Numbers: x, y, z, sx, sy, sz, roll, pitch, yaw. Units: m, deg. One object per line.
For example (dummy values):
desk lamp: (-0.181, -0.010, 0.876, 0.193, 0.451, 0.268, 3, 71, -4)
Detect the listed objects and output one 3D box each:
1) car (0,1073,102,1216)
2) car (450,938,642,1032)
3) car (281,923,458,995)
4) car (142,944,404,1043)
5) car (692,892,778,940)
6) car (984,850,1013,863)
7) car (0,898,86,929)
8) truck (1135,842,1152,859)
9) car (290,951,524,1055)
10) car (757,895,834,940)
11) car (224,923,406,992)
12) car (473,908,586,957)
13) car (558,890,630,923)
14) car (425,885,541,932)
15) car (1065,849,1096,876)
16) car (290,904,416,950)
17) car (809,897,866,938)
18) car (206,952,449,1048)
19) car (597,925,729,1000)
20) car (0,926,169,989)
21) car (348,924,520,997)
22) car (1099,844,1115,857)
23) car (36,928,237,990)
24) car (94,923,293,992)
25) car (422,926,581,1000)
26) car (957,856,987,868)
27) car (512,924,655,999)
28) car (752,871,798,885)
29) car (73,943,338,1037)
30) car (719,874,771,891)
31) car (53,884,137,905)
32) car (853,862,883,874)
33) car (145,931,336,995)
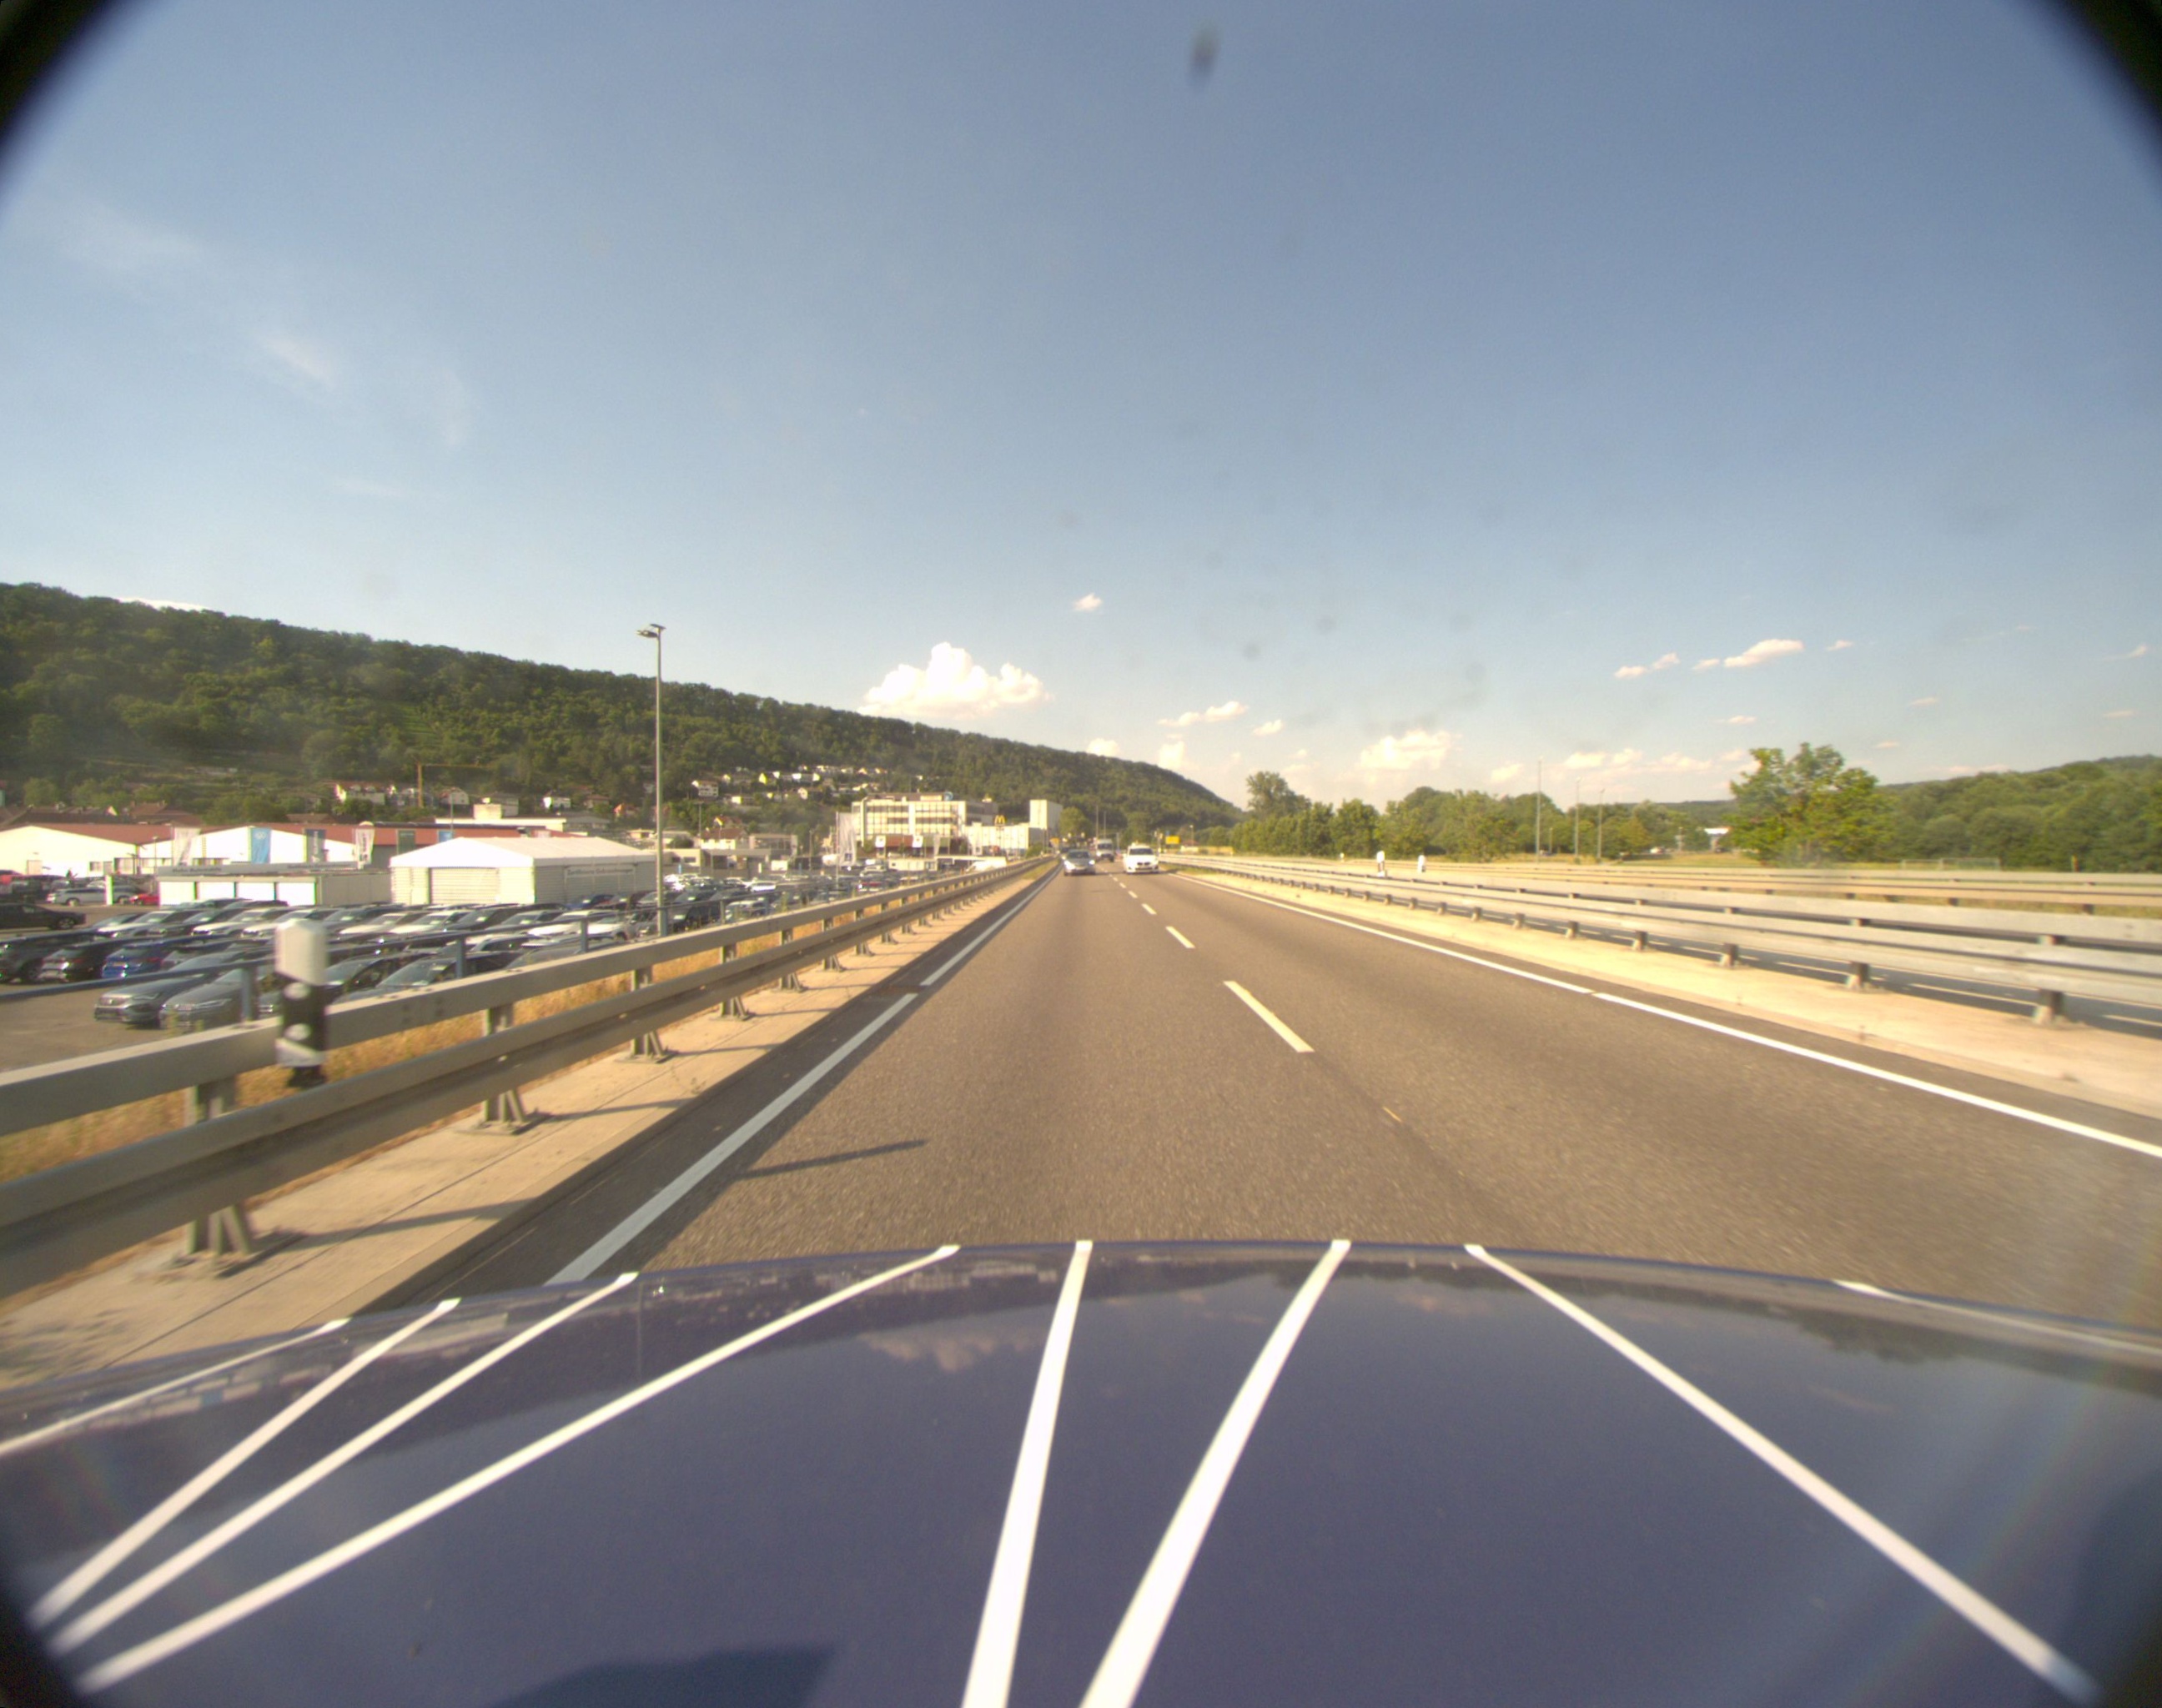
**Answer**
car: (-13.938, 3.668, 8.062, 1.709, 1.456, 4.001, -2, 1, 5)
car: (-12.649, 3.048, 18.319, 1.710, 1.456, 3.999, -2, 1, 0)
car: (-23.160, 3.361, 24.964, 1.779, 1.674, 4.001, -2, 1, 5)
car: (-20.171, 3.399, 19.300, 1.709, 1.614, 4.355, -2, 1, 5)
car: (-14.954, 2.635, 33.095, 1.779, 1.674, 3.999, -2, 1, 1)
car: (-12.347, 0.305, 113.305, 3.996, 1.740, 1.901, -2, 1, 2)
car: (-62.562, 3.545, 45.150, 1.748, 1.568, 3.785, -1, 1, 22)
truck: (13.708, -0.828, 168.436, 2.940, 3.476, 10.496, -1, 1, 0)
car: (-15.435, 3.344, 17.740, 1.710, 1.554, 4.000, -2, 1, 2)
car: (-11.982, 2.622, 32.160, 1.710, 1.456, 3.999, -2, 1, 0)
car: (-25.459, 3.390, 25.470, 1.779, 1.674, 4.001, -2, 1, 5)
car: (-24.555, 3.460, 34.009, 1.778, 1.674, 4.001, -2, 1, 7)
car: (-32.117, 3.430, 50.219, 1.778, 1.674, 4.001, 7, 2, 6)
car: (-26.854, 2.403, 34.323, 1.778, 1.674, 4.001, -2, 1, 5)
car: (0.026, 0.465, 43.637, 1.690, 1.383, 3.883, -1, 1, 1)
car: (-33.933, 3.357, 35.569, 1.779, 1.674, 4.001, -2, 1, 5)
car: (-12.556, 3.246, 39.428, 1.616, 1.669, 3.835, -2, 1, 0)
car: (-17.885, 3.402, 18.344, 1.710, 1.456, 4.000, -2, 1, 2)
car: (-12.882, 3.298, 23.747, 1.779, 1.674, 3.999, -2, 1, 1)
car: (-35.165, 3.537, 26.463, 1.709, 1.594, 4.001, -2, 1, 5)
car: (-20.467, 3.303, 24.295, 1.779, 1.674, 4.001, -2, 1, 5)
car: (2.832, -0.373, 84.668, 1.690, 1.383, 3.883, -1, 1, 1)
car: (-32.280, 3.537, 26.181, 1.709, 1.456, 4.001, -2, 1, 5)
car: (-29.786, 3.411, 25.713, 1.779, 1.674, 4.001, -2, 1, 5)
car: (-18.312, 3.401, 24.288, 1.779, 1.674, 4.000, -2, 1, 4)
car: (-17.014, 1.217, 118.919, 4.332, 1.740, 2.131, -2, 1, 2)
car: (-15.623, 3.322, 24.139, 1.779, 1.674, 3.999, -2, 1, 1)
car: (-34.503, 2.712, 85.628, 4.427, 1.361, 1.801, -2, 1, 8)
car: (-22.516, 3.416, 19.813, 1.956, 1.634, 4.003, -2, 1, 13)
car: (-34.261, 2.899, 77.548, 4.427, 1.534, 1.801, -2, 1, 8)
car: (-87.802, 3.578, 67.722, 1.586, 1.494, 4.233, -1, 1, 23)
car: (-32.068, 2.118, 114.431, 3.996, 1.648, 1.805, 0, 1, 3)
car: (-27.870, 3.564, 25.411, 1.709, 1.456, 4.001, -2, 1, 5)
